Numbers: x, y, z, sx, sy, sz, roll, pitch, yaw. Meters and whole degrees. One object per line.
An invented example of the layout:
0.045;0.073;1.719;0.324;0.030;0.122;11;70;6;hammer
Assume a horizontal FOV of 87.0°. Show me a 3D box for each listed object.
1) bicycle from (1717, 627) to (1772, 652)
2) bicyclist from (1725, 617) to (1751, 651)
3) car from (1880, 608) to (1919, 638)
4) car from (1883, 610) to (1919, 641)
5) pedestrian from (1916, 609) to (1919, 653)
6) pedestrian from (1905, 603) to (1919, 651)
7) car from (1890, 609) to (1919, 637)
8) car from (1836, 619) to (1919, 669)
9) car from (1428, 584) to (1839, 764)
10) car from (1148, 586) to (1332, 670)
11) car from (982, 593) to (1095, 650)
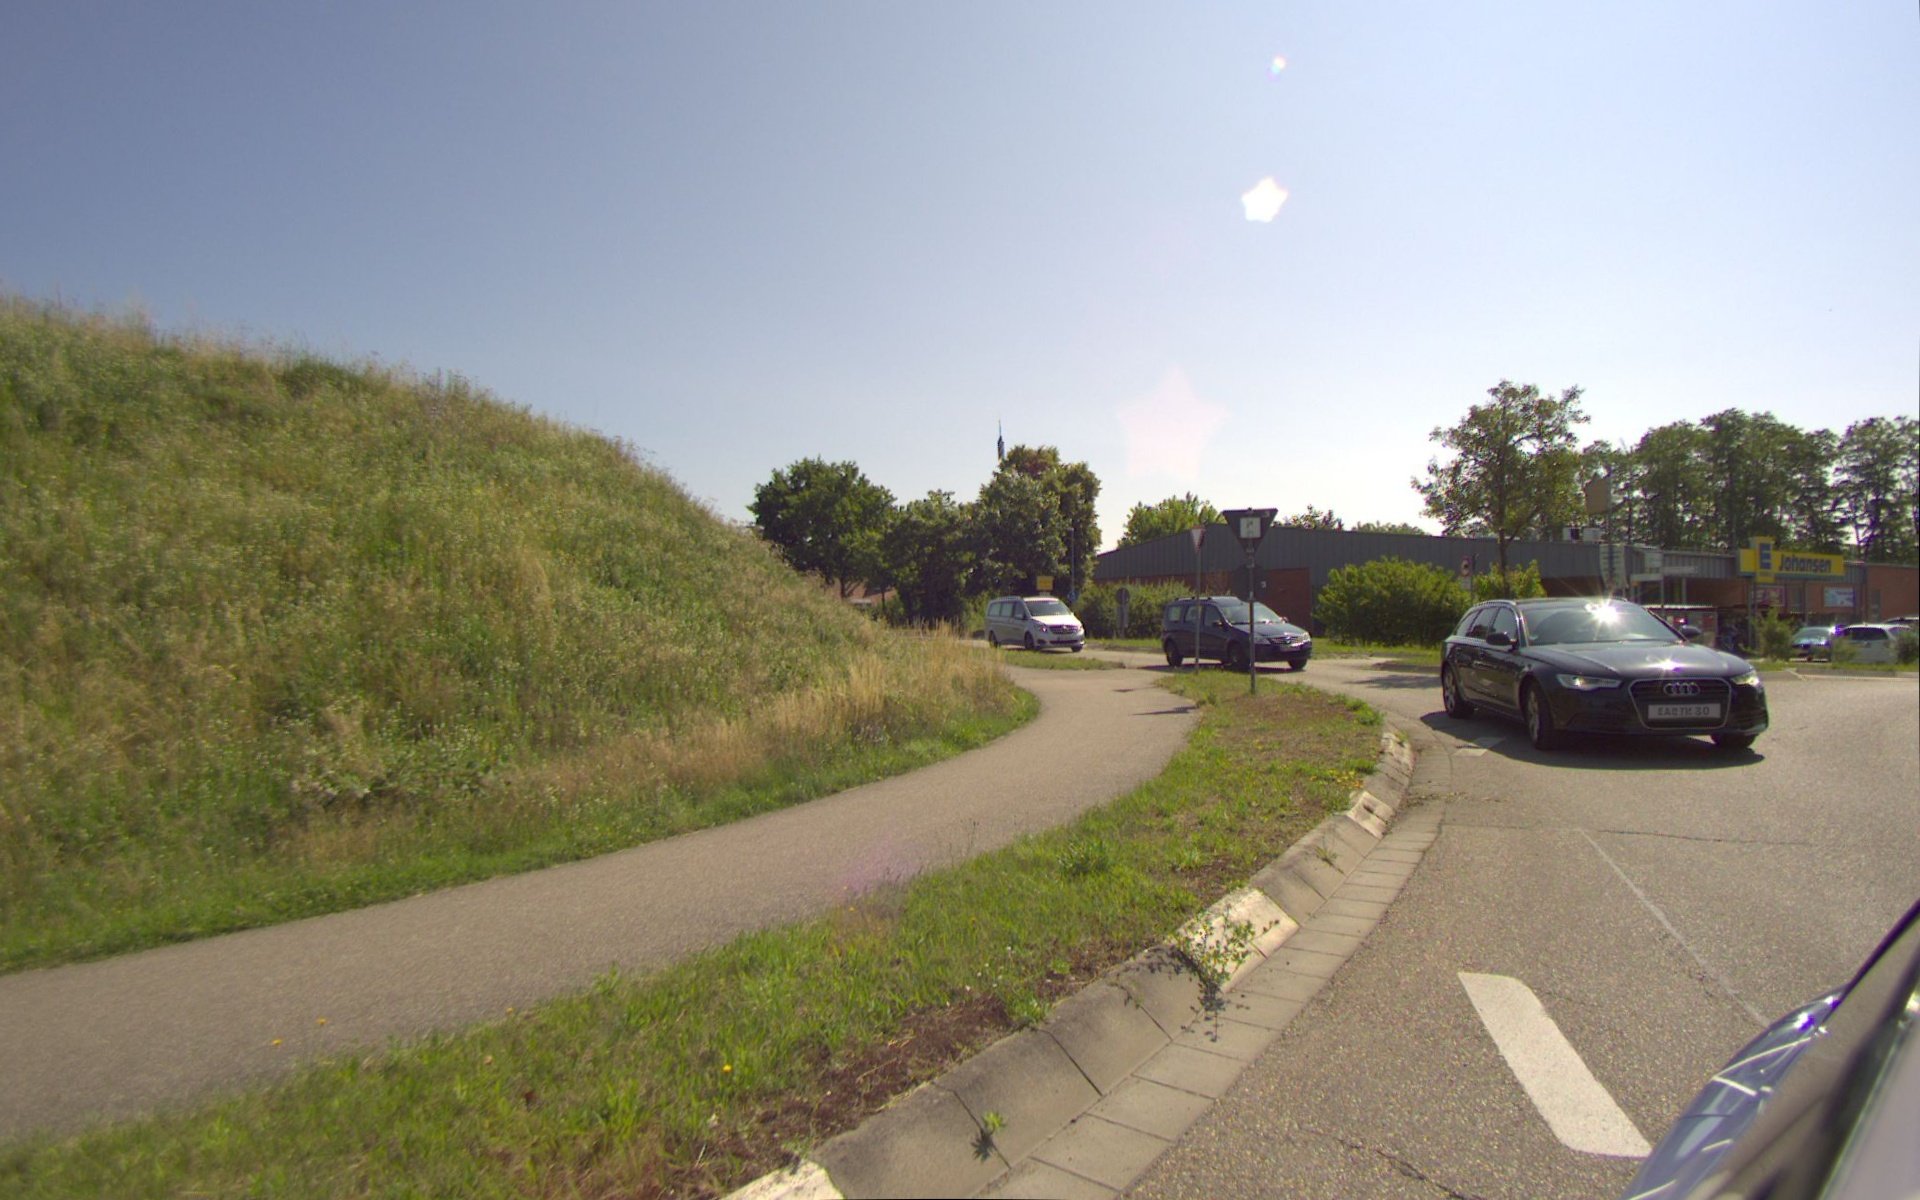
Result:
35.240;1.773;45.480;0.542;1.055;2.079;1;-1;-12;bicycle
35.205;1.537;45.809;0.594;1.534;0.679;1;-2;-12;bicyclist
60.519;1.412;63.303;1.961;1.839;4.001;0;-1;-33;car
59.080;1.573;61.526;1.961;1.839;4.001;2;-2;-33;car
36.718;1.184;38.195;0.810;1.640;0.913;-1;-2;37;pedestrian
38.399;1.088;40.333;0.758;1.895;0.842;2;-2;-29;pedestrian
62.327;1.464;64.601;1.961;1.839;4.001;0;-1;-33;car
29.395;1.384;31.674;3.694;1.465;1.728;2;-2;-27;car
6.697;0.627;10.862;1.893;1.452;4.895;-2;0;12;car
6.293;0.620;23.399;1.778;1.661;4.664;-3;0;-17;car
2.633;0.740;35.261;1.958;1.839;5.211;1;-1;-20;car
